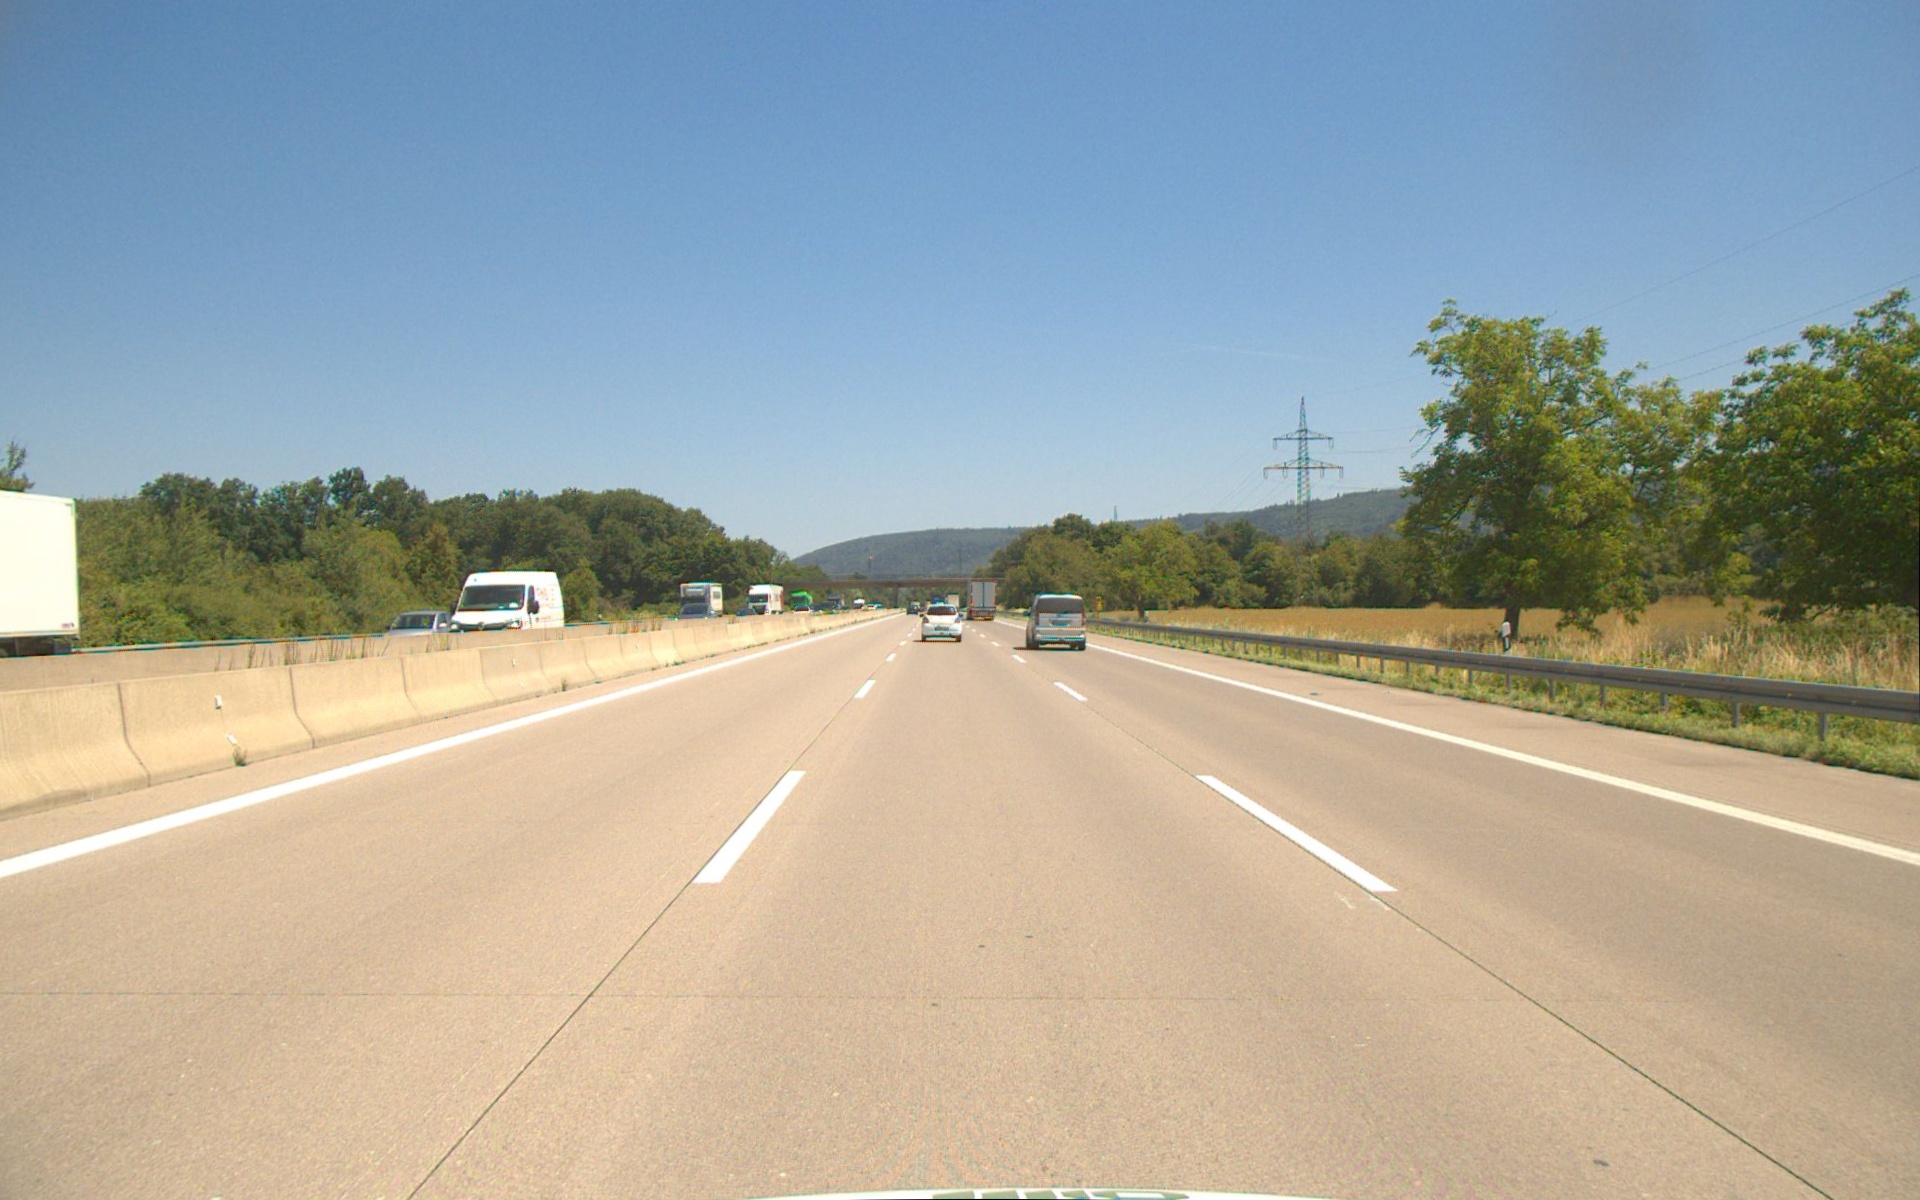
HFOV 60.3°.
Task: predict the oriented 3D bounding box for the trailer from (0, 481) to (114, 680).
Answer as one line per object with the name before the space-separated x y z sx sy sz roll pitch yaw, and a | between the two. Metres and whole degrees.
trailer | -20.399 -0.398 30.027 3.097 3.905 14.027 1 0 -1

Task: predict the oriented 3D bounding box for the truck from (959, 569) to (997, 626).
truck | 1.857 -0.290 176.675 3.646 5.913 7.050 1 0 -2

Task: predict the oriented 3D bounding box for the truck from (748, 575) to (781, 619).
truck | -22.054 -0.317 186.719 3.019 4.845 6.497 1 0 -1

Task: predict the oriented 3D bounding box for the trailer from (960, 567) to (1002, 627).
trailer | 2.096 -0.273 170.486 3.646 5.913 12.156 1 0 -2

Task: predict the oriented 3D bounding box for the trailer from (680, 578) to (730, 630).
trailer | -21.246 0.302 138.170 2.893 4.177 8.482 1 0 0

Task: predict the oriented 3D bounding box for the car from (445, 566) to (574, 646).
car | -12.439 0.157 46.105 2.026 2.049 5.979 1 0 -1

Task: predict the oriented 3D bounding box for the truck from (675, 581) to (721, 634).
truck | -21.217 0.614 134.097 2.893 4.200 5.085 1 0 0

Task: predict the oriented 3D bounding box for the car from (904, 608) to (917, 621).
car | -7.344 2.093 244.647 1.890 1.825 3.999 1 0 -2

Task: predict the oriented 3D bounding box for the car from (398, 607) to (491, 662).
car | -16.921 1.099 54.449 1.782 1.691 4.000 0 0 0

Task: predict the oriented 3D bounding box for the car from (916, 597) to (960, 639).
car | -0.924 0.729 68.856 1.782 1.691 3.999 0 0 -1

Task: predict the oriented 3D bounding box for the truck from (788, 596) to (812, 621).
truck | -24.249 1.252 250.777 2.988 3.698 7.975 1 0 -1

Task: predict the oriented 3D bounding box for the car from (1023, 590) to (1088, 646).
car | 3.339 0.607 58.360 1.953 1.881 3.999 1 0 -1

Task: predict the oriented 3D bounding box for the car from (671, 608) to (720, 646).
car | -13.482 1.372 84.463 1.890 1.825 4.395 1 0 -1
